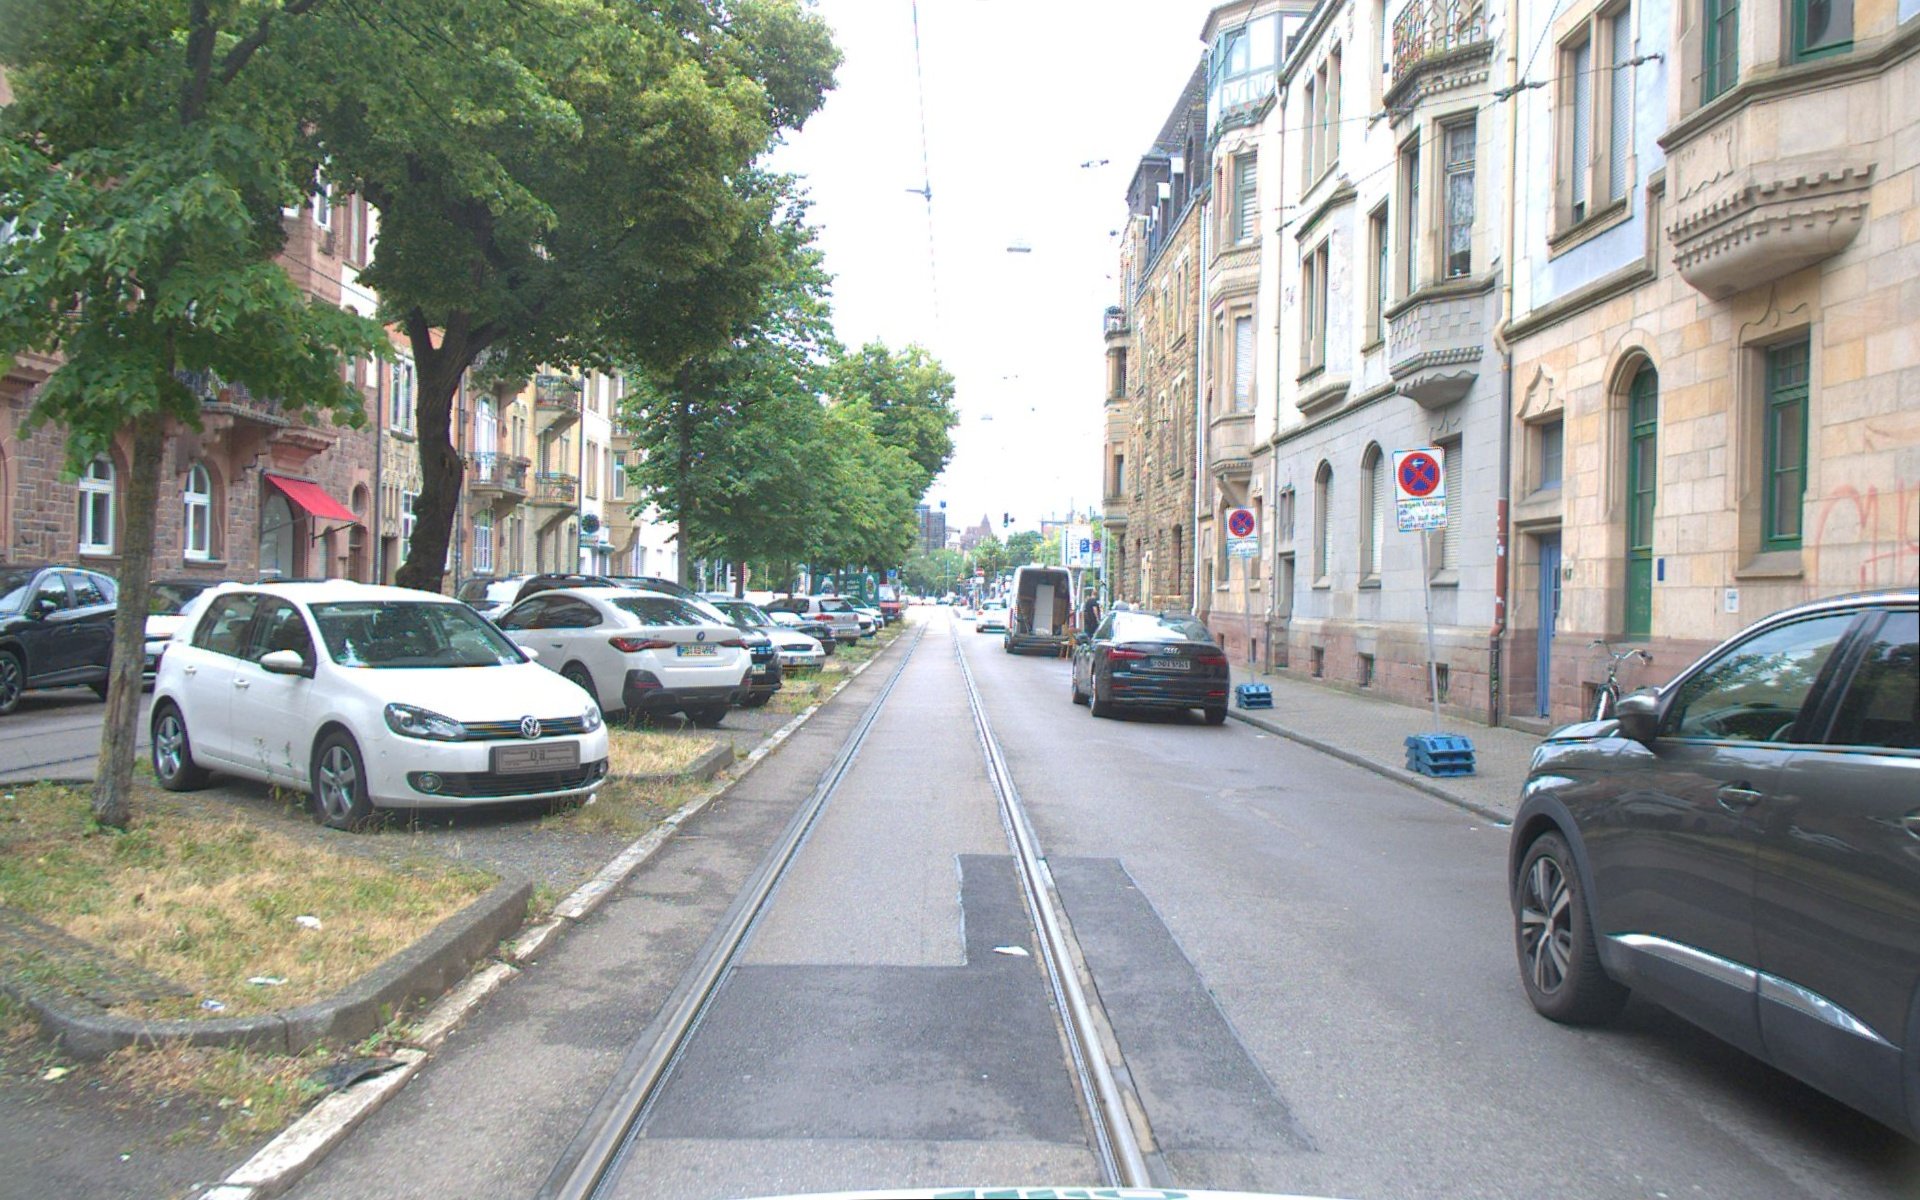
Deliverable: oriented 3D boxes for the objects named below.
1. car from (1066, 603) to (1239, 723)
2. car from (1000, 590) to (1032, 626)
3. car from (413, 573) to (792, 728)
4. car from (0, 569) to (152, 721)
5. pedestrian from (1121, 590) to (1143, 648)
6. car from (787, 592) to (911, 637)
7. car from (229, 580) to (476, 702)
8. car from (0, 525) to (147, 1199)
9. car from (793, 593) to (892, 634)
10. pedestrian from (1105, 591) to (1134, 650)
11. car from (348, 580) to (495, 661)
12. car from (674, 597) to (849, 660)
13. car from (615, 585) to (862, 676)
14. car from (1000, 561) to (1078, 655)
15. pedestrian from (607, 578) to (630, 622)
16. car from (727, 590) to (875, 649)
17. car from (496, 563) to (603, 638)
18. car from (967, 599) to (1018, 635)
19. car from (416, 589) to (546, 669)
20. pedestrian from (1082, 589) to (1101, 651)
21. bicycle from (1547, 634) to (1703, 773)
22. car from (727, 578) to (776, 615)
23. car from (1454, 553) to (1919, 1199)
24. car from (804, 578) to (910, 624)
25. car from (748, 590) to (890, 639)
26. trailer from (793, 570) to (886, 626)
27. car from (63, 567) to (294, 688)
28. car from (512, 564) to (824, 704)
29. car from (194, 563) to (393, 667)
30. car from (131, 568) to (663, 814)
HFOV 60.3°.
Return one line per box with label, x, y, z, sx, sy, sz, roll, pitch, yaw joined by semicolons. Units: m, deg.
car;2.658;0.816;23.980;1.764;1.463;5.195;2;0;-1
car;3.269;0.467;97.250;1.746;1.997;4.383;2;0;1
car;-4.128;0.497;18.678;4.464;1.516;2.022;1;-1;44
car;-11.341;0.472;19.307;1.733;1.657;4.319;1;0;-1
pedestrian;5.217;0.580;50.140;0.498;1.747;0.580;-1;0;-11
car;-3.903;0.490;57.829;4.263;1.460;1.888;1;0;42
car;-8.264;0.525;22.989;1.768;1.478;4.651;1;0;-1
car;-3.800;0.555;4.115;1.850;1.519;4.490;2;0;-44
car;-4.581;0.499;64.183;3.794;1.488;1.680;1;0;42
pedestrian;4.757;0.617;49.296;0.695;1.729;0.488;-1;0;-29
car;-11.407;0.421;35.352;1.705;1.569;4.552;1;0;-1
car;-4.357;0.603;35.964;3.894;1.223;1.657;2;0;43
car;-3.937;0.498;28.951;4.586;1.392;1.747;2;0;42
car;2.369;0.222;51.192;1.972;2.593;7.016;3;0;0
pedestrian;-14.100;-0.004;68.332;0.781;1.797;0.900;1;0;-2
car;-4.468;0.528;46.196;4.042;1.510;1.787;2;0;40
car;-11.675;0.036;47.396;1.843;1.986;5.092;1;0;-1
car;1.485;0.736;74.427;1.744;1.498;4.013;2;0;8
car;-11.719;0.690;40.782;1.777;1.813;5.116;1;0;-1
pedestrian;3.985;0.589;50.028;0.488;1.847;0.803;-1;0;1
bicycle;6.223;0.934;15.593;0.599;1.146;1.916;4;0;-1
car;-9.656;-0.157;76.838;1.768;1.607;4.545;1;0;-1
car;3.120;0.730;4.895;1.724;1.650;4.692;2;0;-2
car;-4.707;0.035;75.019;4.676;2.009;1.951;1;0;38
car;-4.614;0.462;53.921;4.600;1.460;1.890;1;0;39
trailer;-5.257;-0.097;72.100;3.594;2.385;1.926;1;0;32
car;-11.285;0.380;24.154;1.628;1.587;3.721;1;0;-1
car;-3.941;0.395;21.827;4.455;1.662;1.753;1;-1;44
car;-11.618;0.256;29.168;1.705;1.655;4.552;1;0;-1
car;-4.038;0.512;11.511;4.060;1.335;1.850;2;0;44
